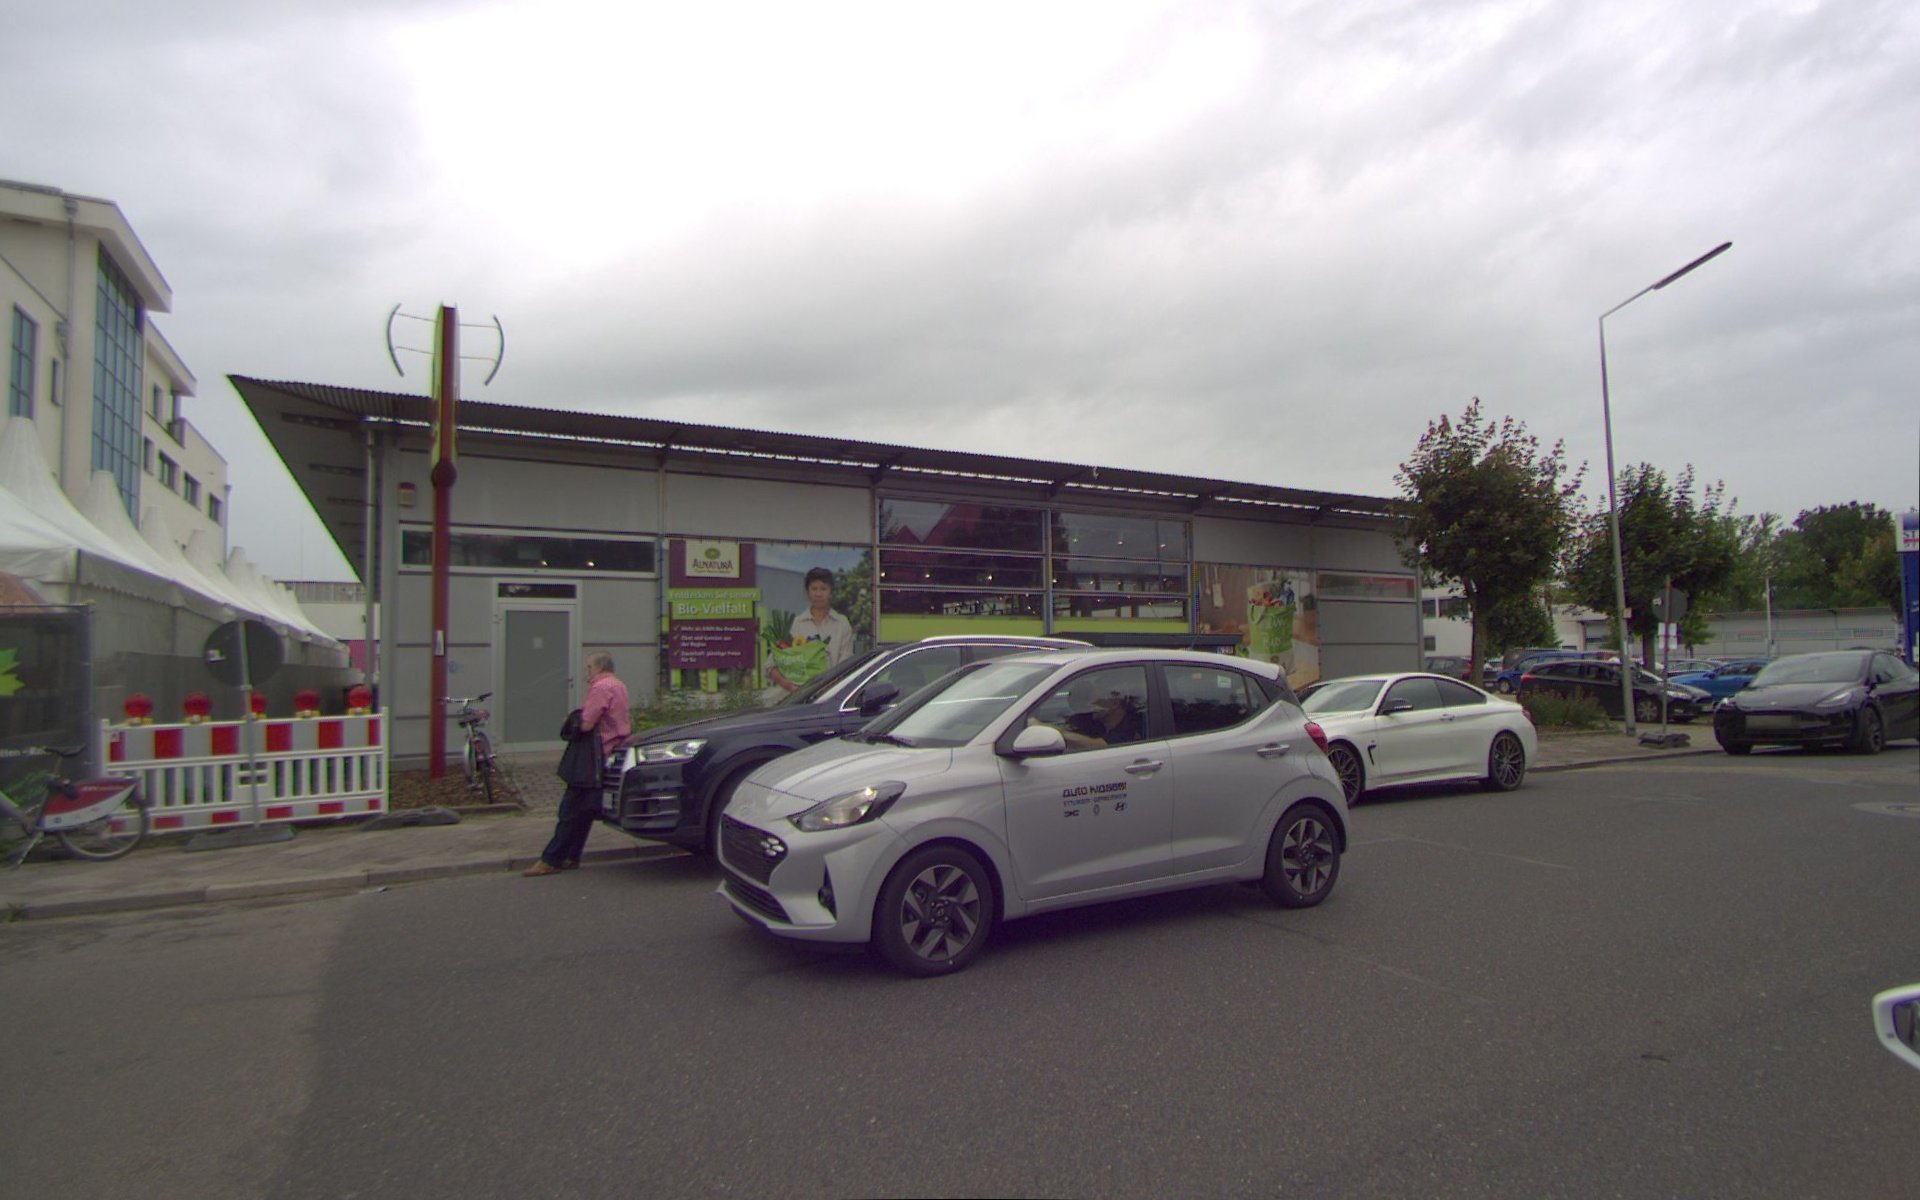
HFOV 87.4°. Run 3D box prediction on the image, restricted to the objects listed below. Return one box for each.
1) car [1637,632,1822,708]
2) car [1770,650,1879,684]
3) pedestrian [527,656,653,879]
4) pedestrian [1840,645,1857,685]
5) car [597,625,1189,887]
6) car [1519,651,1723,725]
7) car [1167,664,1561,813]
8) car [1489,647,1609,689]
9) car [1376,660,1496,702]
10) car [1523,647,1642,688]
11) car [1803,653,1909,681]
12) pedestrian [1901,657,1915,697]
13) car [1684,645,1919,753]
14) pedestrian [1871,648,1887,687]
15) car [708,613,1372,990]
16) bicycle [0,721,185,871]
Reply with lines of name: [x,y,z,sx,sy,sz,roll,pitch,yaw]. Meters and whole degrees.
car: [22.452,2.058,29.428,1.744,2.039,3.905,2,-5,-35]
car: [46.060,3.574,53.616,1.853,1.690,3.972,1,-4,-28]
pedestrian: [-2.910,1.301,7.938,0.641,1.641,0.675,-5,-7,25]
pedestrian: [37.774,2.763,42.708,0.450,1.663,0.372,-4,-4,44]
car: [-0.511,1.181,8.561,4.670,1.712,1.860,1,-7,-28]
car: [16.481,2.137,25.251,1.904,1.641,3.859,1,-3,-28]
car: [4.671,1.513,11.477,4.464,1.384,1.693,2,-9,-30]
car: [24.855,2.867,42.527,1.853,1.690,3.972,1,-4,-28]
car: [17.723,3.024,37.588,3.924,1.504,1.876,-2,-4,23]
car: [26.960,2.947,43.644,1.853,1.690,3.972,1,-4,-28]
car: [49.399,3.698,55.482,1.763,1.511,3.973,1,-4,-27]
pedestrian: [38.392,3.113,40.671,0.500,1.590,0.327,2,-3,-40]
car: [14.023,1.605,16.358,4.352,1.545,1.939,2,-8,-31]
pedestrian: [38.287,2.816,41.845,0.500,1.590,0.356,2,-4,-40]
car: [0.501,0.959,5.745,3.486,1.547,1.592,2,-6,-30]
bicycle: [-7.360,1.529,7.904,1.874,1.091,0.543,2,-4,-23]
